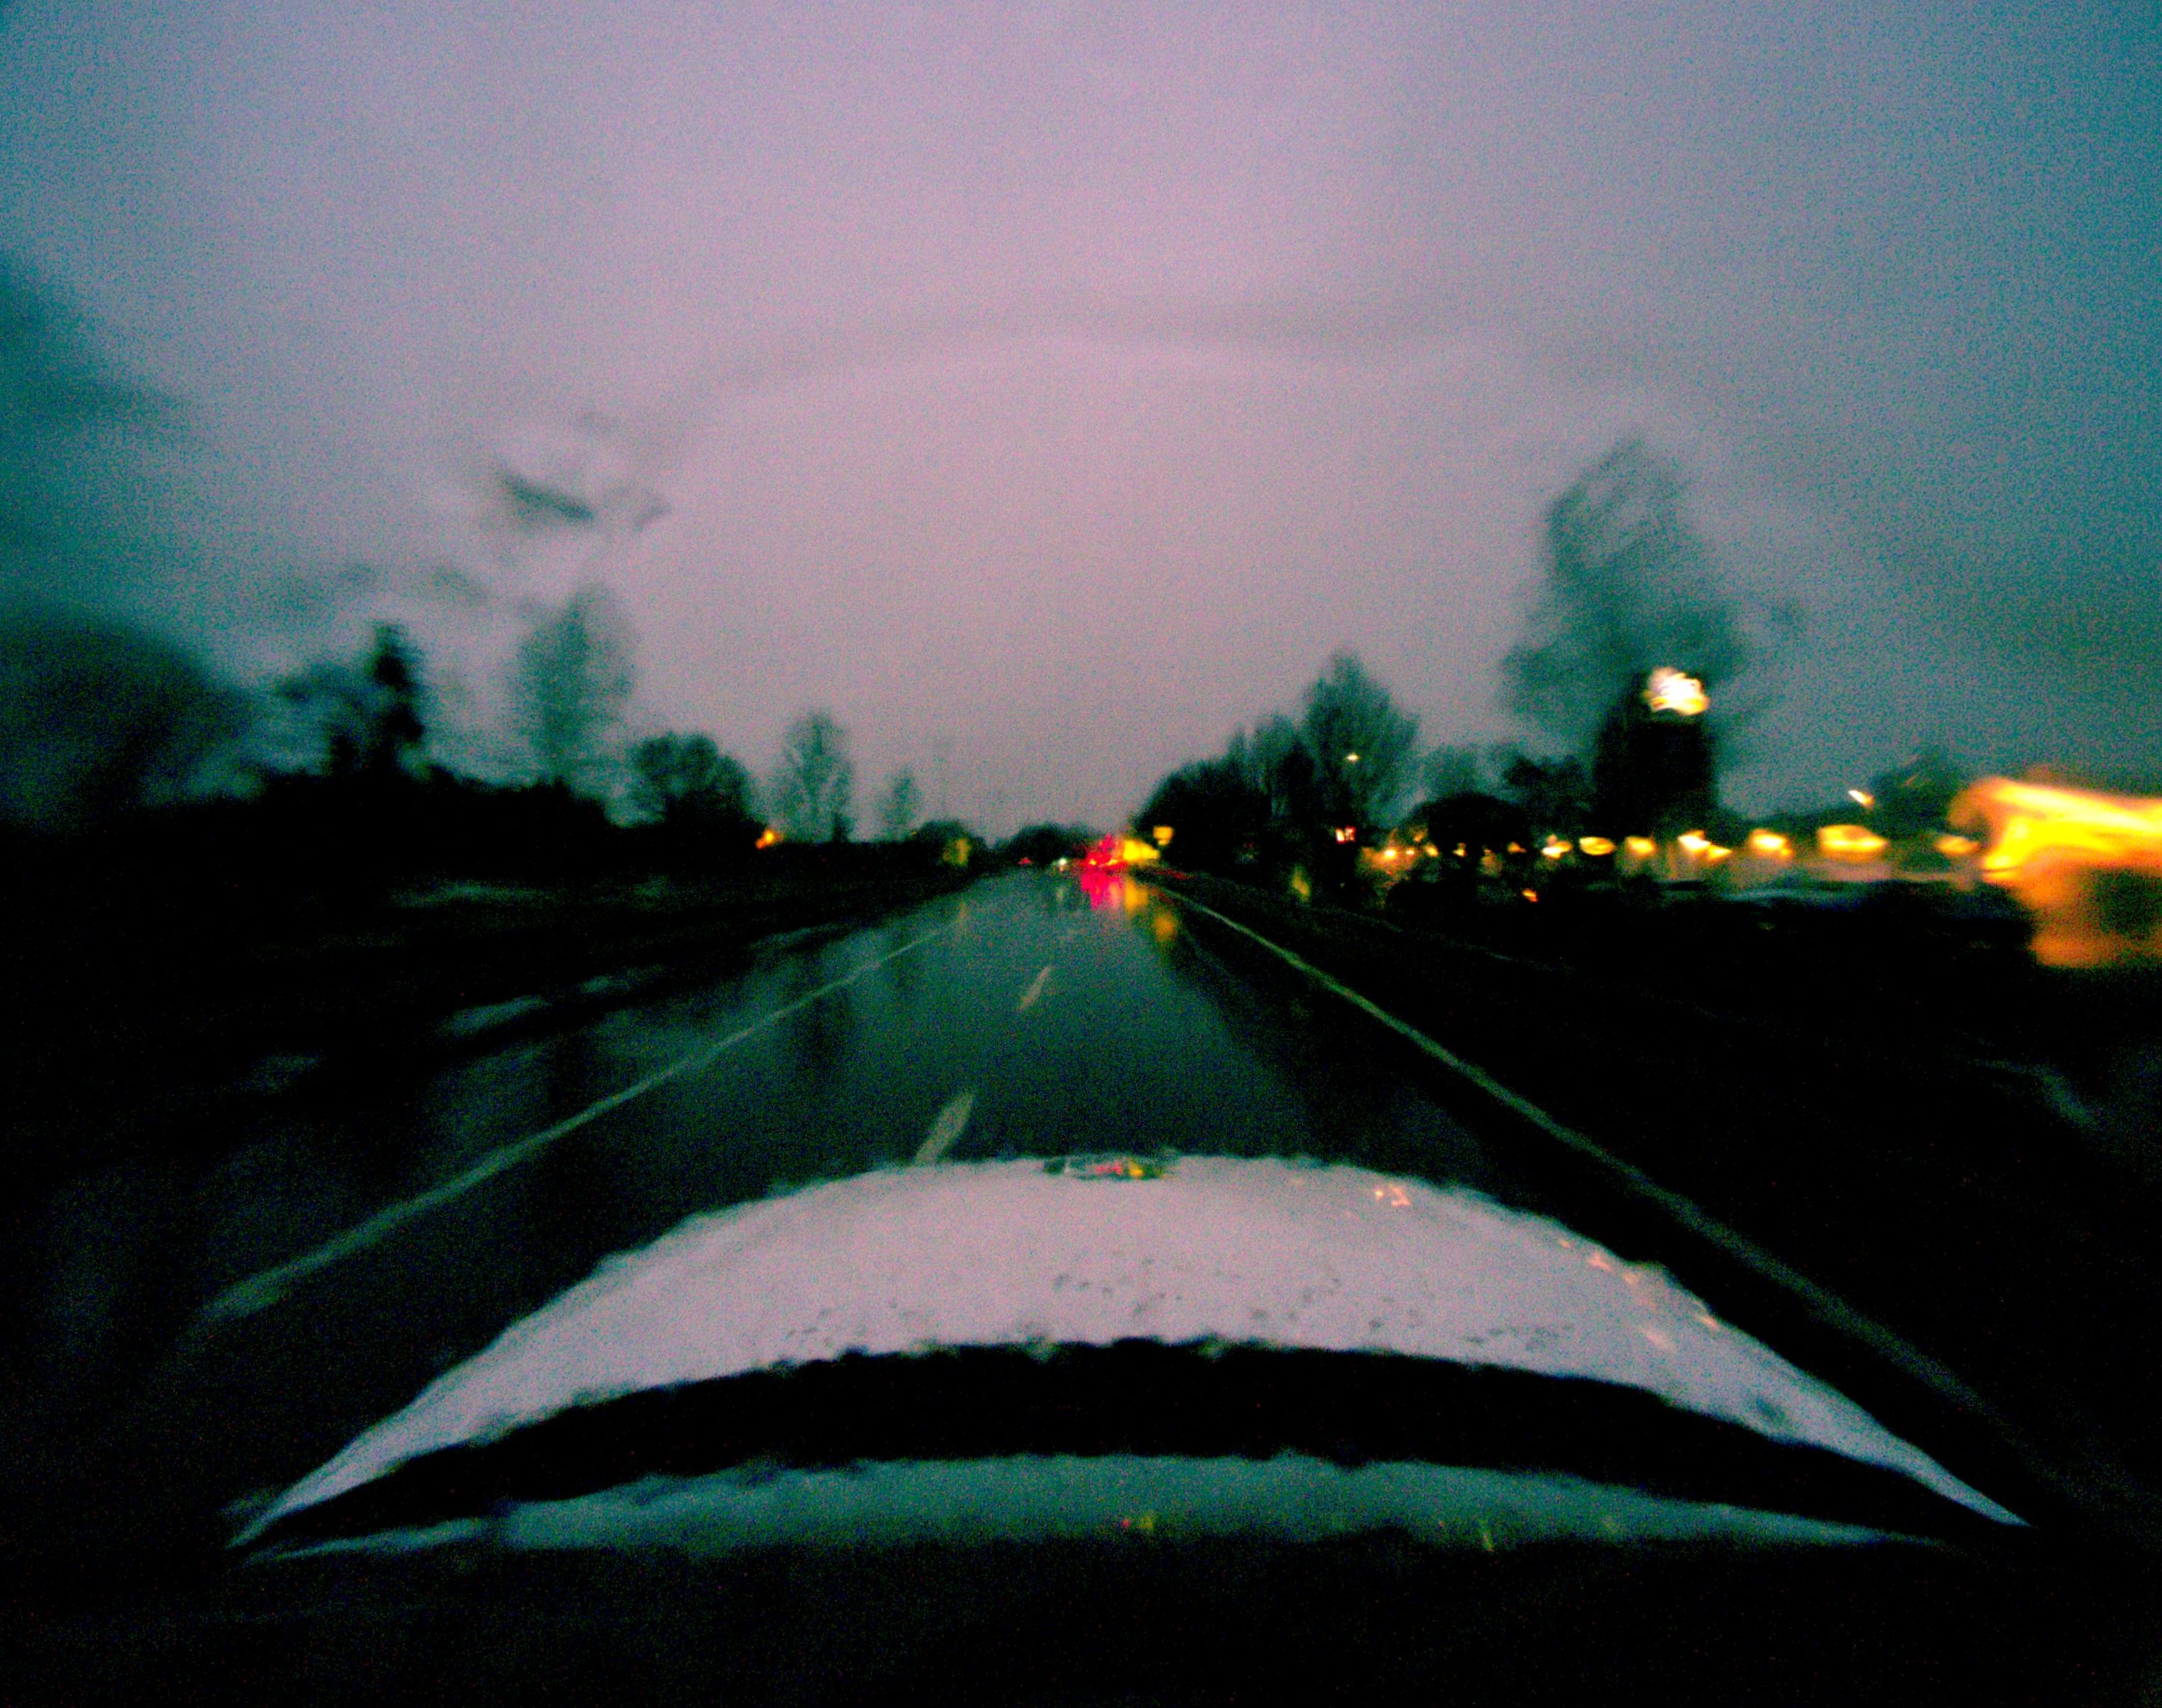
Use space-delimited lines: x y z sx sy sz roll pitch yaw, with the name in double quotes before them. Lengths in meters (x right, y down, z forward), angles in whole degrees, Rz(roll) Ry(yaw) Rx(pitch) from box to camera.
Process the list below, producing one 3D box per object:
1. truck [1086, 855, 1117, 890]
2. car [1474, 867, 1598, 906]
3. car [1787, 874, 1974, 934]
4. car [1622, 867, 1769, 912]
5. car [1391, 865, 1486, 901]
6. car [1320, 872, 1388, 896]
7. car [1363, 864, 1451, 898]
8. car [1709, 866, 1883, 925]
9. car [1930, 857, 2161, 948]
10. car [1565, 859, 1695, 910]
"truck" 1.703 1.525 69.578 2.524 2.869 5.921 0 0 0
"car" 19.218 1.357 34.401 4.727 1.489 1.654 -1 -2 -15
"car" 21.714 1.316 22.168 3.870 1.477 1.990 1 0 -15
"car" 20.782 1.164 27.590 4.128 1.422 1.657 0 0 -11
"car" 18.355 1.472 41.863 4.137 1.730 2.010 -1 -2 -17
"car" 16.475 1.789 49.252 3.534 1.424 1.658 0 -2 -8
"car" 17.763 1.441 44.430 4.136 1.724 2.010 -1 -1 -16
"car" 21.717 1.226 24.769 4.255 1.630 1.990 1 0 -16
"car" 22.333 1.027 18.813 4.255 1.854 1.990 -1 0 -16
"car" 20.515 1.133 30.475 4.131 1.835 1.655 0 -2 -13
